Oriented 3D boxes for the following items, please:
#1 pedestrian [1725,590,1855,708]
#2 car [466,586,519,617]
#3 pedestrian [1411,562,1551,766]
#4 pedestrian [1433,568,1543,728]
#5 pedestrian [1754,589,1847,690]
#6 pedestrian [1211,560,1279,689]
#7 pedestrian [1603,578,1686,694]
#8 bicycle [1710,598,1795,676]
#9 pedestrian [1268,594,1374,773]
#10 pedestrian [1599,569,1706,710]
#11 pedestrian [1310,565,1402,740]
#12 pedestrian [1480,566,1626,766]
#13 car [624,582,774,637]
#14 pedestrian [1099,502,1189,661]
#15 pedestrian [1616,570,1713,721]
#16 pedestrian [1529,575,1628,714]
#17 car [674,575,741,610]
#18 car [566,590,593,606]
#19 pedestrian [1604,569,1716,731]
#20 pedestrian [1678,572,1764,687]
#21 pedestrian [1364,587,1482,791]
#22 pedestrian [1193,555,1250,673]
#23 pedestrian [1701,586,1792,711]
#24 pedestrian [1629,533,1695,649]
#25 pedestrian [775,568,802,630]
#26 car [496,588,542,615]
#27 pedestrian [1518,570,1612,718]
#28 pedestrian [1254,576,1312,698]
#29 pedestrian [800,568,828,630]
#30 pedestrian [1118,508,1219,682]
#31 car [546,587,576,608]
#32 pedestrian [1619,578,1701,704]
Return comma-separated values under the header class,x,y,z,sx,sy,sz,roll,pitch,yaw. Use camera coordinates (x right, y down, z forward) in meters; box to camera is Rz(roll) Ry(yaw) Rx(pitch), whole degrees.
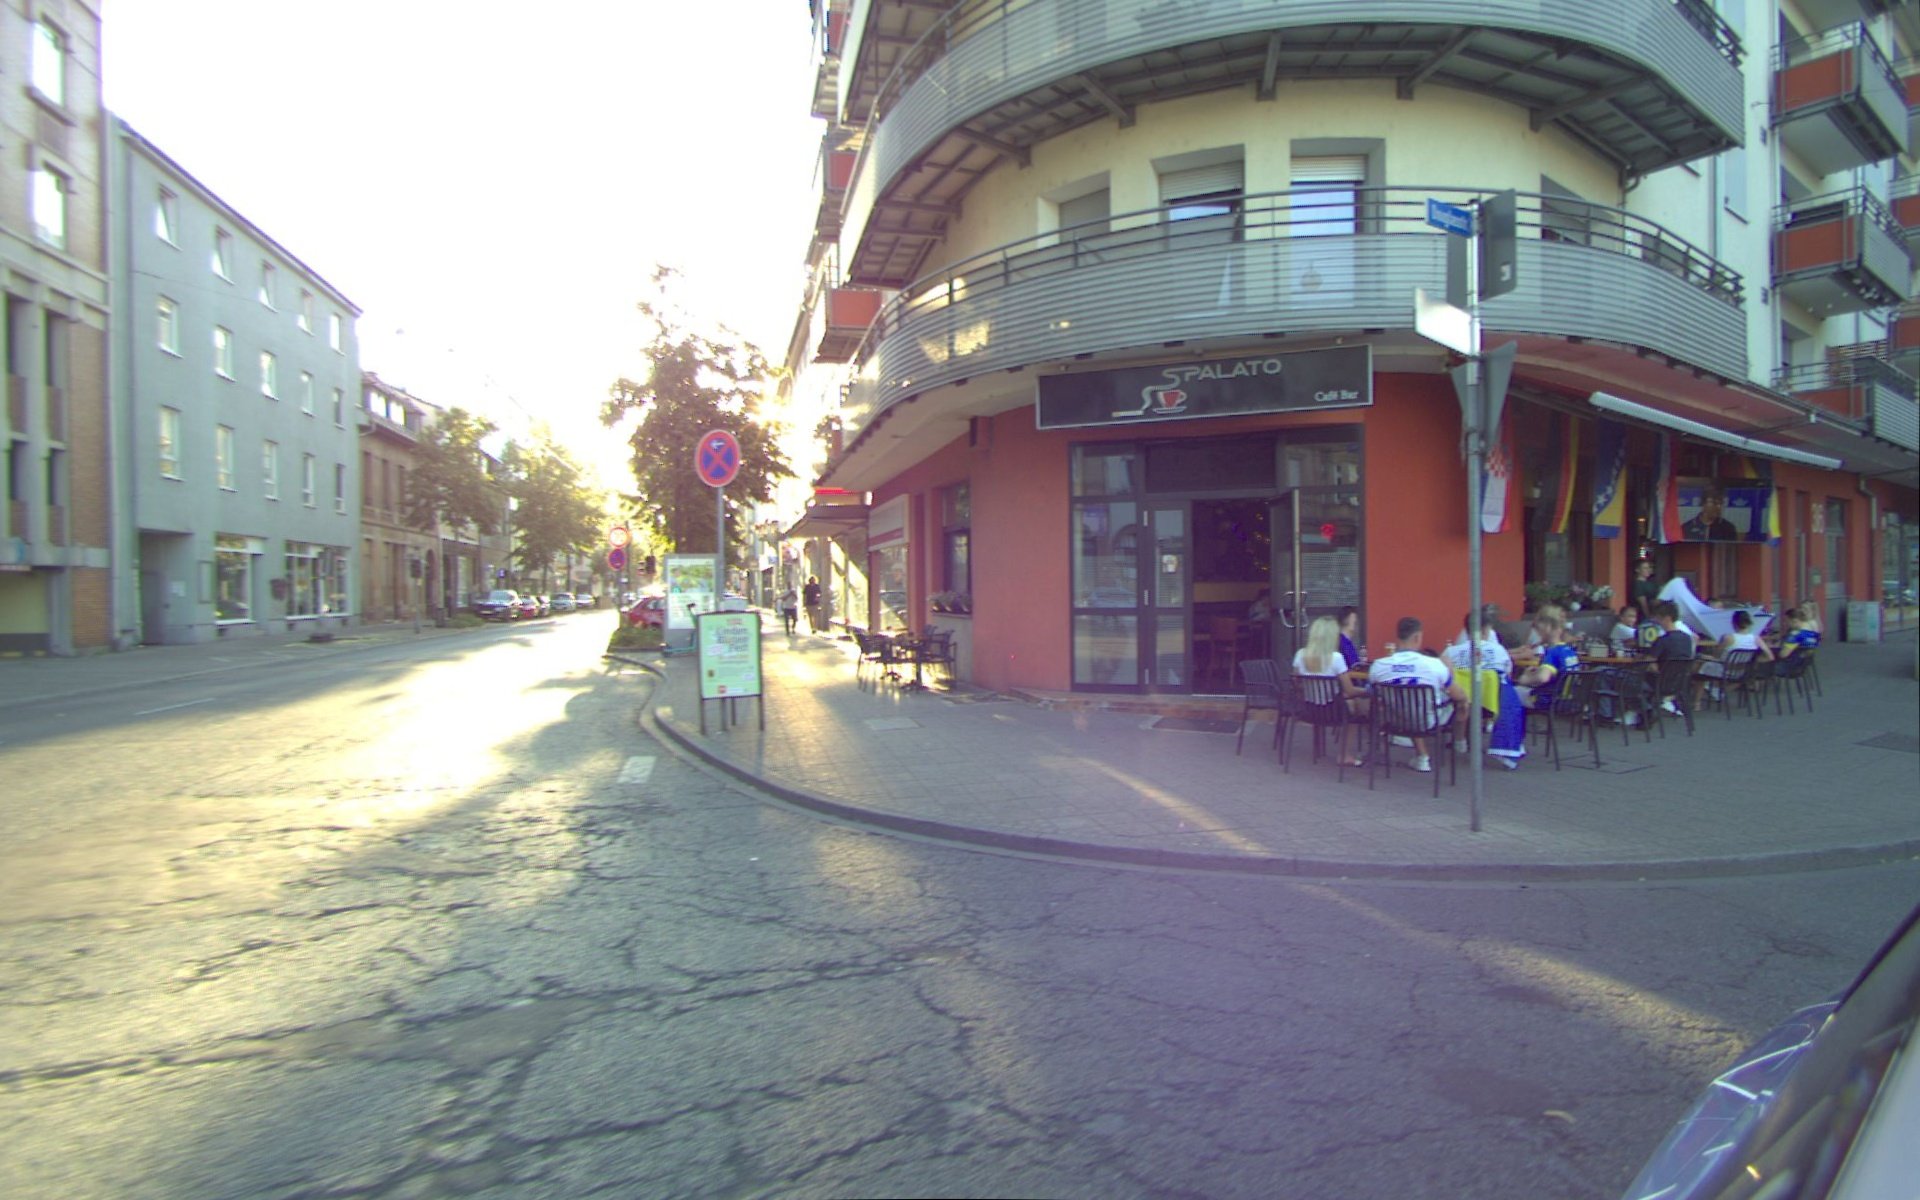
class,x,y,z,sx,sy,sz,roll,pitch,yaw
pedestrian,9.954,0.559,12.162,0.835,1.322,0.880,-1,2,-18
car,-25.434,0.062,55.217,1.958,1.571,4.008,-1,1,-15
pedestrian,4.223,0.479,8.230,0.675,1.555,0.716,-2,1,-21
pedestrian,5.341,0.468,10.279,0.635,1.555,0.753,-1,-1,-5
pedestrian,11.431,0.511,13.792,0.846,1.293,0.707,0,3,31
pedestrian,4.660,0.387,16.546,0.658,2.039,0.814,-1,0,-38
pedestrian,8.862,0.454,13.107,0.591,1.439,0.714,-1,-1,-38
bicycle,12.233,0.543,15.593,1.969,1.101,0.550,-1,-1,-38
pedestrian,2.930,0.626,8.175,0.679,1.297,0.959,0,2,27
pedestrian,8.051,0.440,11.778,0.668,1.555,0.851,-1,-1,-41
pedestrian,3.700,0.473,9.518,0.705,1.555,0.848,-2,-1,18
pedestrian,5.013,0.510,8.566,0.837,1.554,0.715,-1,5,-36
car,-8.072,0.260,31.440,4.351,1.561,1.821,-1,1,-15
pedestrian,2.447,-0.245,13.517,0.844,2.039,0.816,-1,0,-23
pedestrian,7.658,0.462,11.000,0.688,1.546,0.650,-1,4,-42
pedestrian,7.157,0.483,11.706,0.769,1.523,0.769,-1,0,-40
car,-15.705,-0.488,63.008,3.916,2.039,2.004,-1,1,-17
car,-34.500,-0.164,91.840,1.958,1.404,4.008,-1,1,-15
pedestrian,7.177,0.477,10.386,0.746,1.554,0.714,-1,4,-41
pedestrian,10.688,0.401,14.239,0.846,1.555,0.707,-2,-1,31
pedestrian,3.473,0.615,7.586,0.763,1.399,0.832,0,2,27
pedestrian,4.116,0.212,15.930,0.607,1.799,0.611,-1,0,-40
pedestrian,9.059,0.529,11.659,0.736,1.361,0.655,-1,3,-40
pedestrian,12.728,-0.171,18.356,0.798,2.039,0.671,-1,0,-27
pedestrian,-5.574,-0.037,32.960,0.715,1.972,0.742,-1,0,-19
car,-27.094,0.082,62.279,1.958,1.571,4.008,-1,1,-15
pedestrian,6.687,0.454,11.193,0.643,1.555,0.675,-1,3,-40
pedestrian,4.907,0.541,15.364,0.610,1.799,0.608,-1,0,45
pedestrian,-4.790,-0.041,33.138,0.715,1.972,0.806,-1,0,-19
pedestrian,2.562,-0.067,12.487,0.837,2.039,0.913,-1,0,-23
car,-31.239,-0.200,79.348,1.720,1.571,4.296,-1,1,-15
pedestrian,8.486,0.471,12.269,0.551,1.451,0.667,-1,2,-40
